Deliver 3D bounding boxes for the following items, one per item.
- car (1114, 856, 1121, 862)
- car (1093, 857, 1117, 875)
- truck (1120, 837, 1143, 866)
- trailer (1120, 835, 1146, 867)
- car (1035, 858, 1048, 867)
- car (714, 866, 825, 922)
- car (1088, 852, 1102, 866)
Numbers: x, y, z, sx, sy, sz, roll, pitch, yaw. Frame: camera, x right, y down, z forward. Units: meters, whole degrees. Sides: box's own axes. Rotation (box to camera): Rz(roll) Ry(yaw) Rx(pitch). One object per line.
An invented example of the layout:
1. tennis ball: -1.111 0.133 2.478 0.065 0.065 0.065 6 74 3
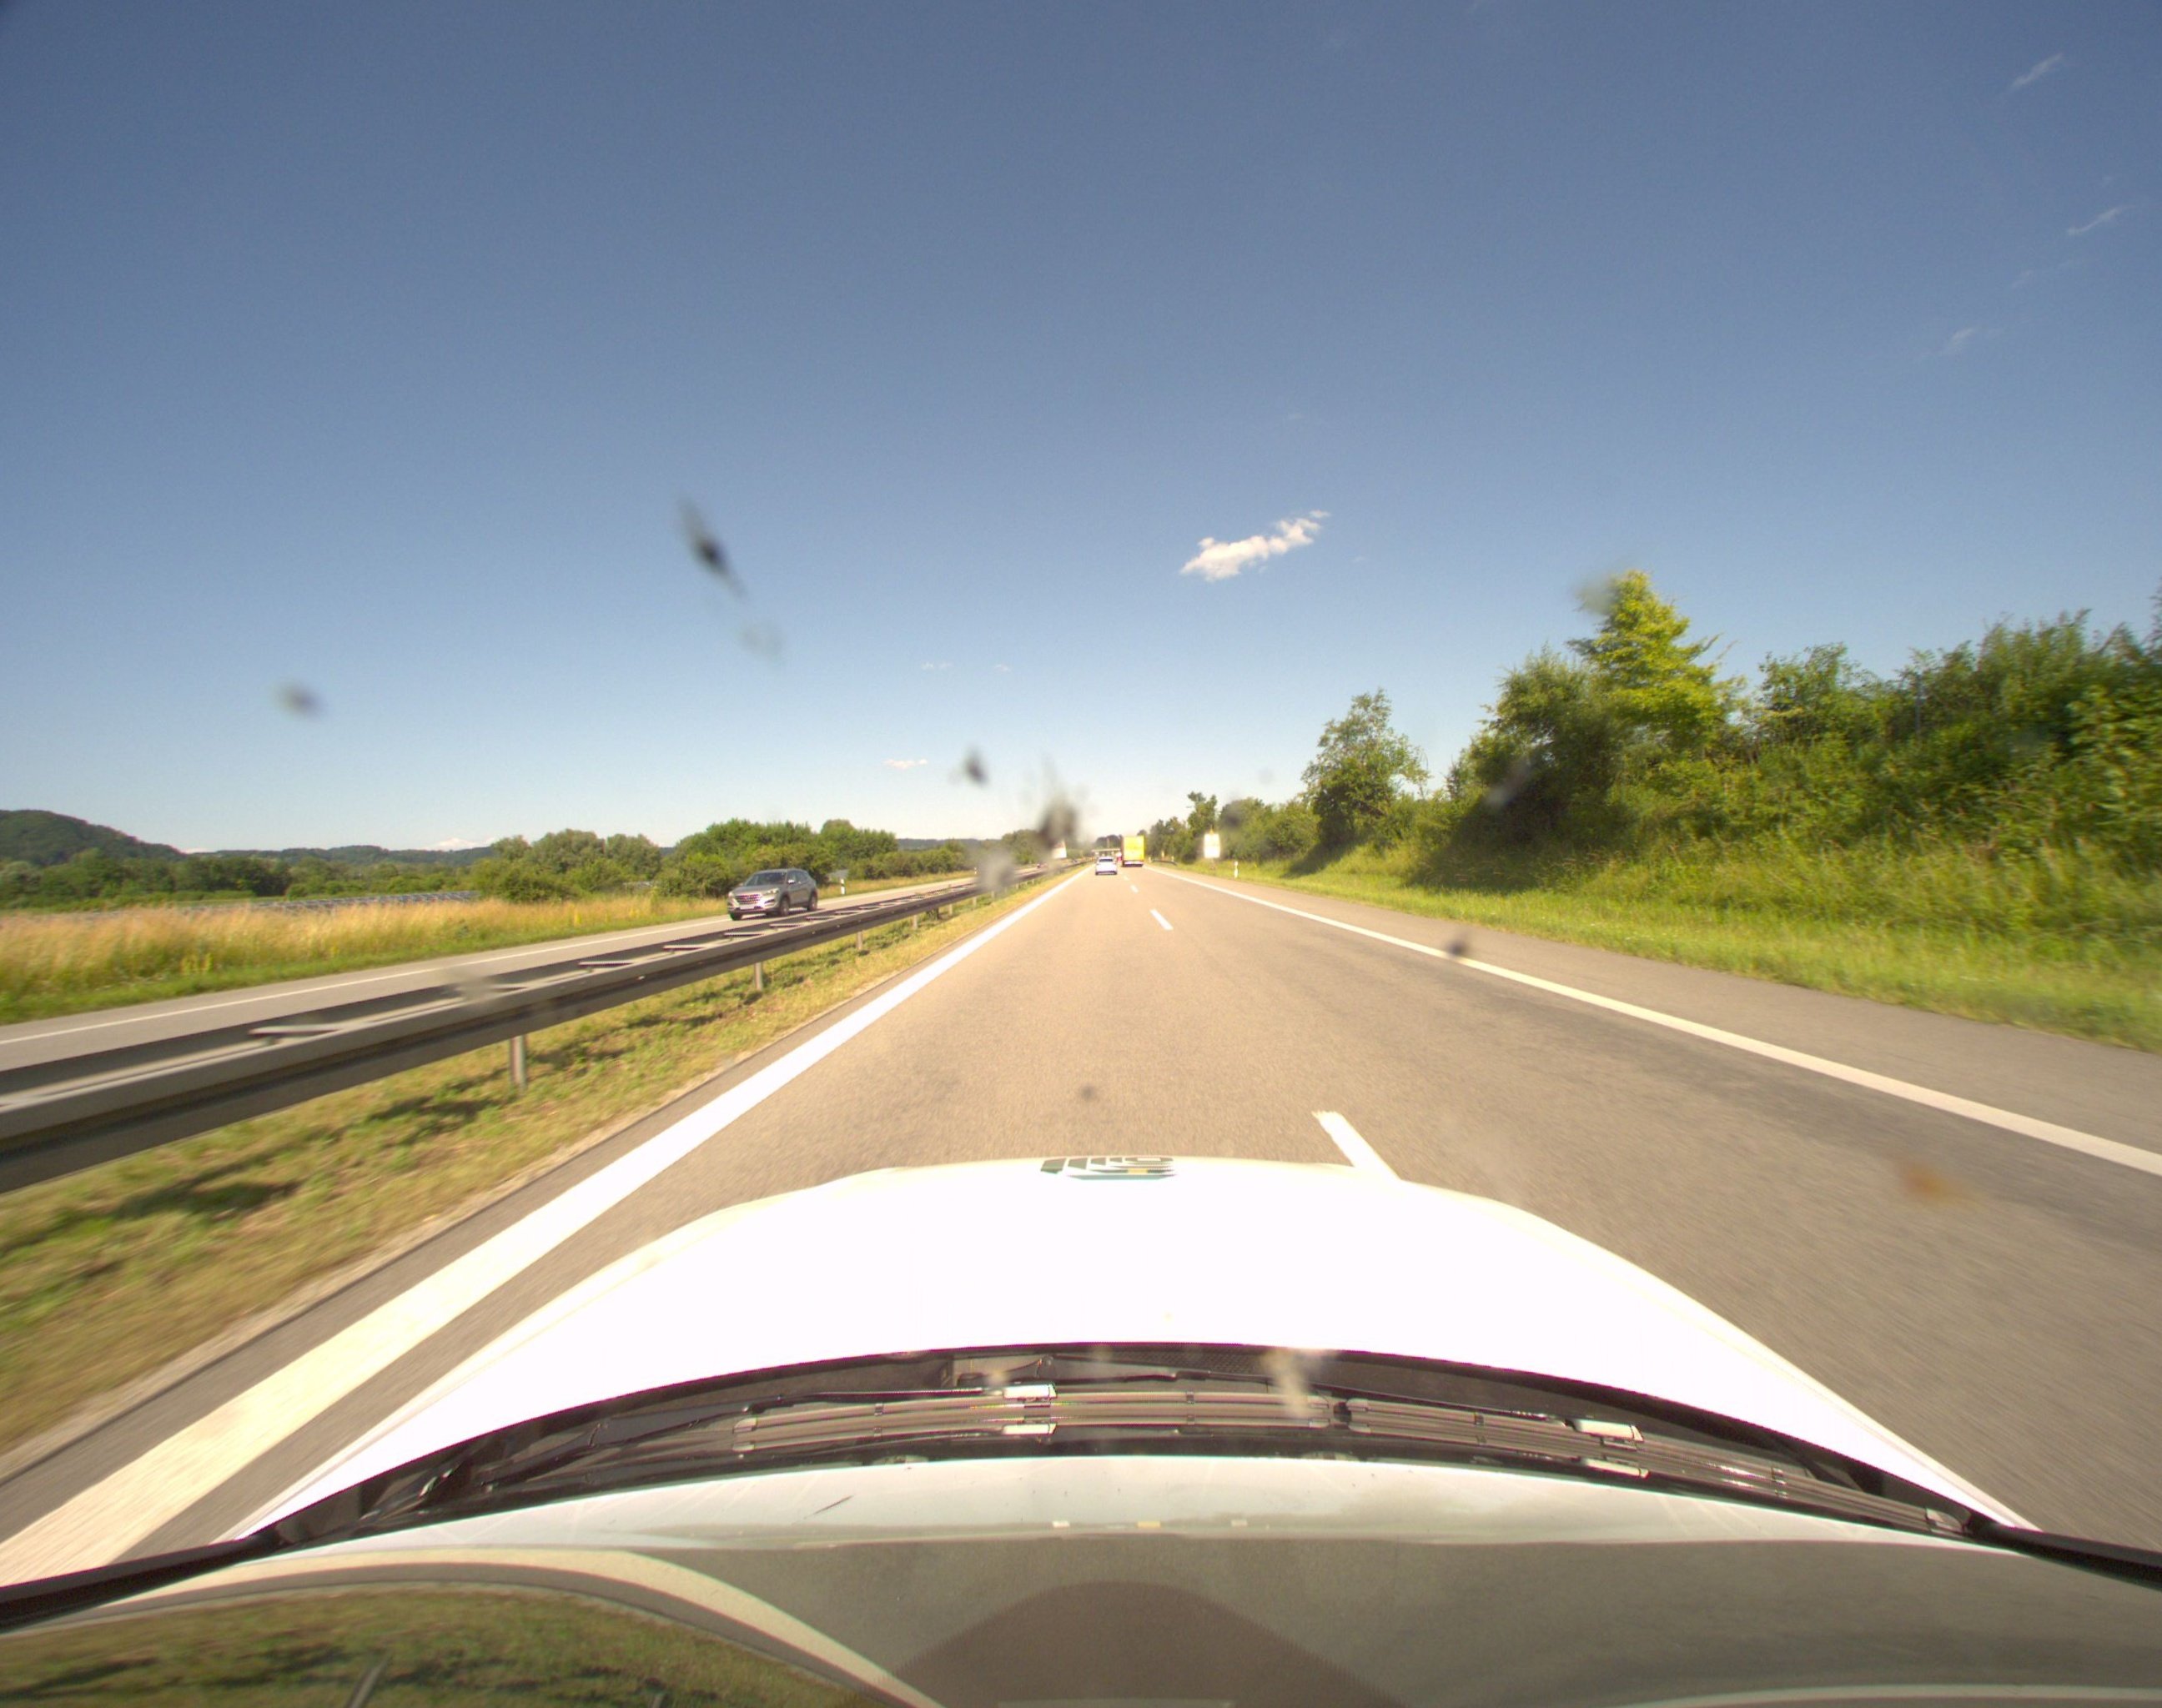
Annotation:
1. car: 11.530 1.531 256.663 1.895 1.683 4.733 1 0 2
2. car: 2.015 0.934 66.593 1.835 1.415 4.003 -1 0 3
3. truck: 7.242 -0.290 117.677 3.157 4.114 6.390 -1 -1 1
4. trailer: 7.035 -0.318 111.480 3.172 4.059 13.193 -1 0 2
5. car: -6.778 1.432 139.568 1.826 1.398 4.923 -5 0 1
6. car: -10.862 1.331 28.791 1.895 1.683 4.733 -3 -1 2
7. car: 2.122 0.740 119.721 1.986 2.014 4.001 -1 -1 1
